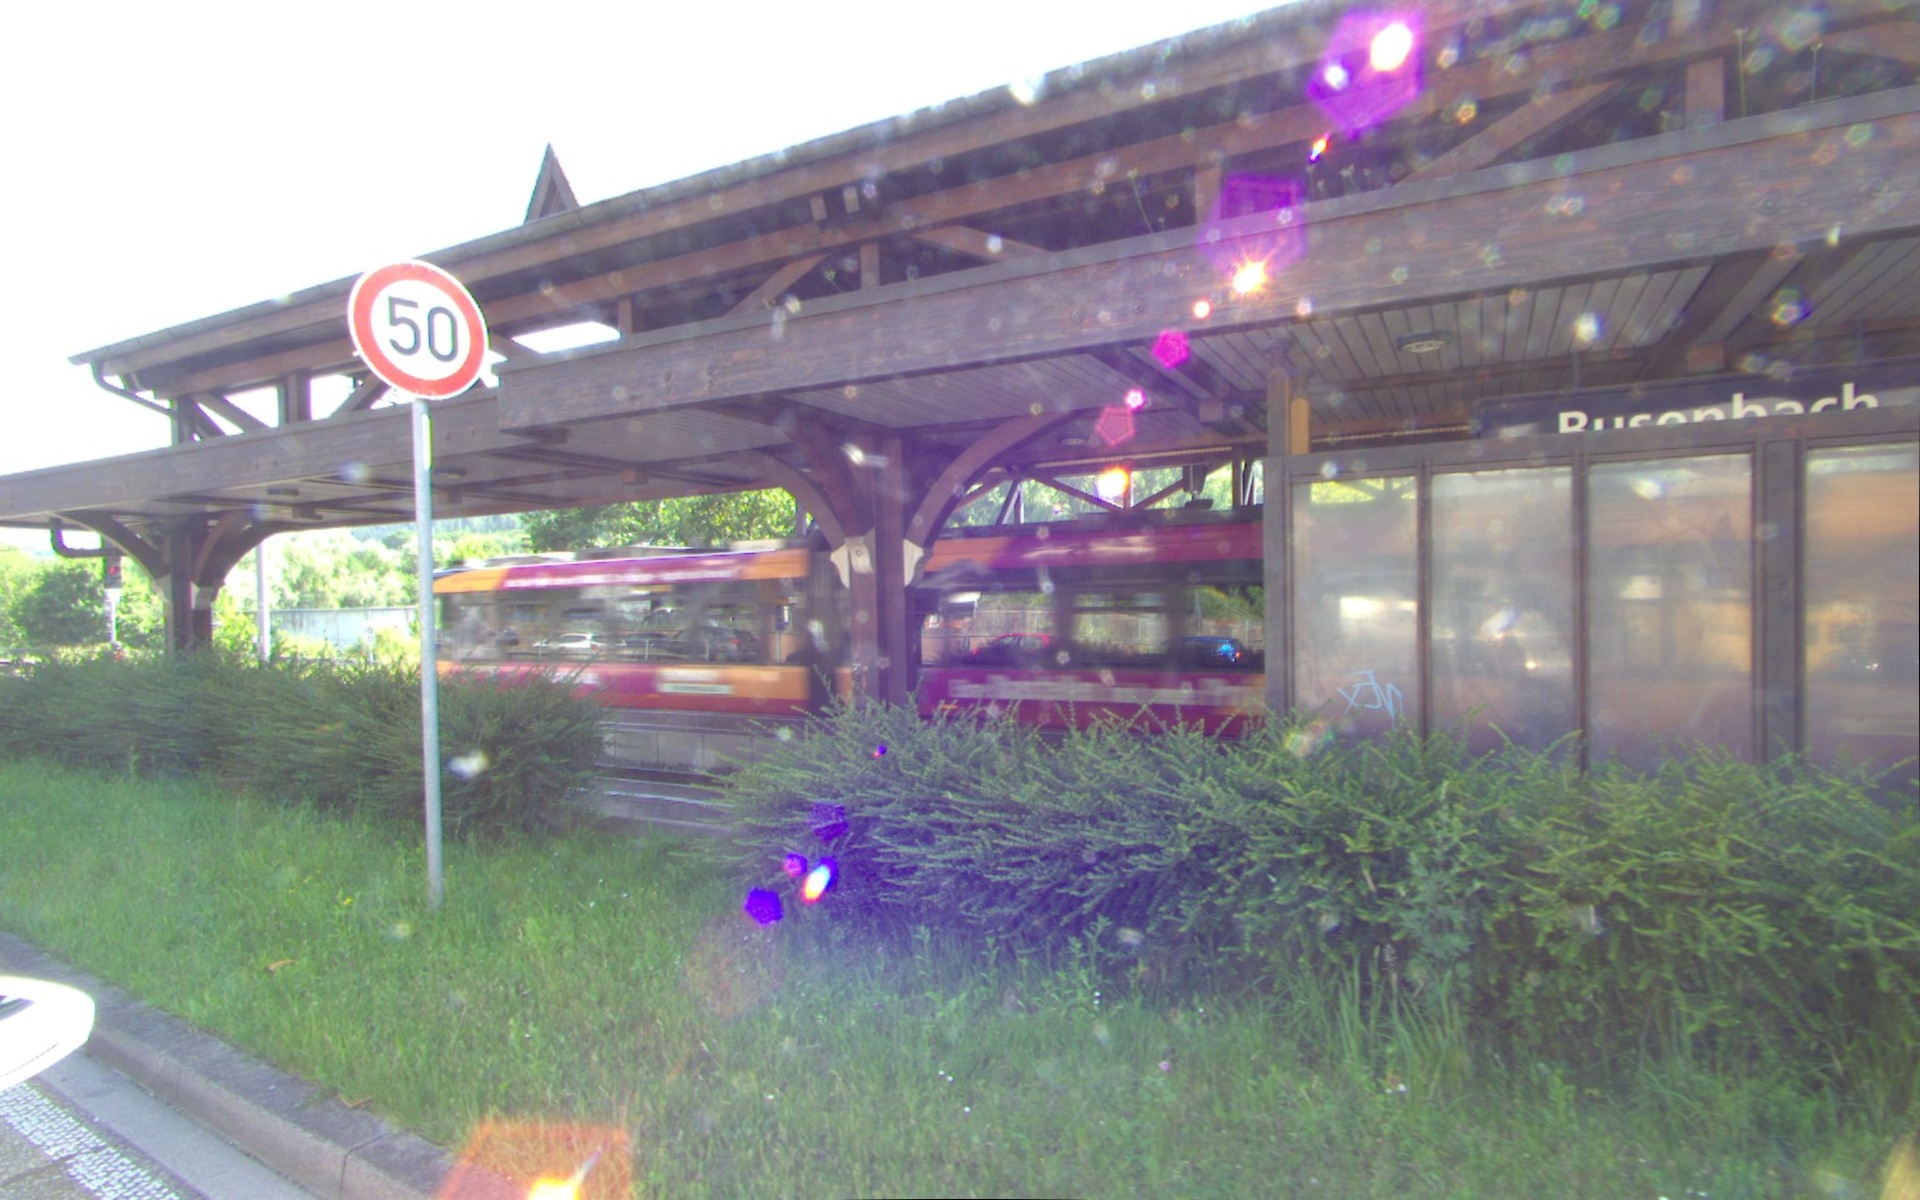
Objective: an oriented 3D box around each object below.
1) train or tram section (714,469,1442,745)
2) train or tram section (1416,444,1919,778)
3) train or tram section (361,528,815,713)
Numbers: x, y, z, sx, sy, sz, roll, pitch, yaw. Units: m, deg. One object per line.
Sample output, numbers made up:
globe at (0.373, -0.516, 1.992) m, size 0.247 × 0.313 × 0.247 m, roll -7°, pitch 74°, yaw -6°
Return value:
train or tram section at (1.299, 0.240, 16.587) m, size 11.870 × 3.406 × 2.784 m, roll -1°, pitch -2°, yaw 31°
train or tram section at (12.537, 0.127, 10.331) m, size 14.133 × 3.408 × 2.854 m, roll -1°, pitch -1°, yaw 29°
train or tram section at (-8.837, 0.450, 22.677) m, size 11.869 × 3.407 × 2.753 m, roll 0°, pitch -2°, yaw 31°
